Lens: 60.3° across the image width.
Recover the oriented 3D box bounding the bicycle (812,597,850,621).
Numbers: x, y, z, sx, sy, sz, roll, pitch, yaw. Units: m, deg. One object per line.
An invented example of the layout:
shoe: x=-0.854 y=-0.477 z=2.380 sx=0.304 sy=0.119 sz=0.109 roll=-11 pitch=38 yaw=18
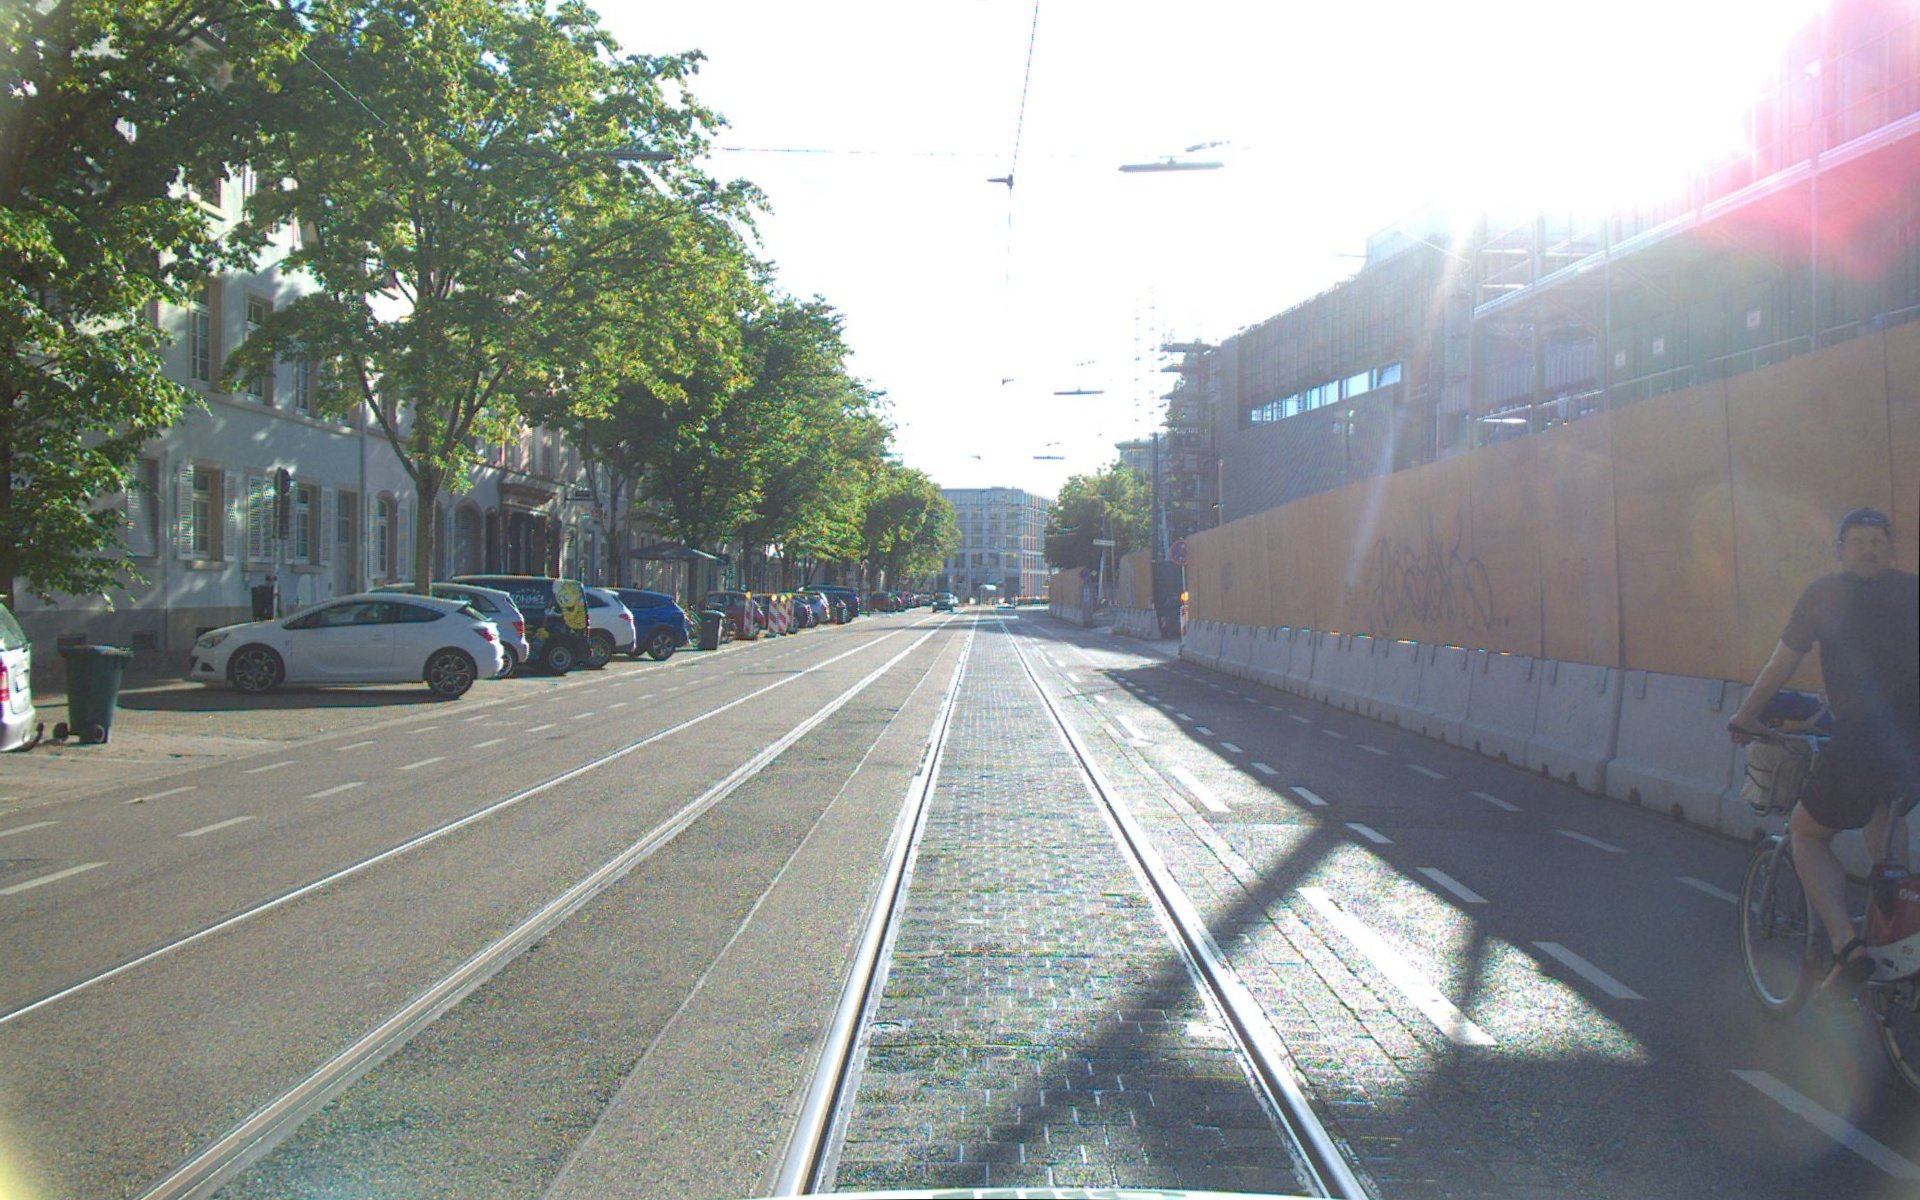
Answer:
bicycle: x=-6.748 y=0.467 z=86.602 sx=1.934 sy=1.164 sz=0.490 roll=2 pitch=0 yaw=-18

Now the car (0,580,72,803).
car: x=-9.336 y=0.689 z=12.930 sx=3.924 sy=1.706 sz=1.695 roll=0 pitch=0 yaw=-17

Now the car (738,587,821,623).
car: x=-8.031 y=0.227 z=73.778 sx=3.323 sy=1.519 sz=1.599 roll=2 pitch=1 yaw=-27

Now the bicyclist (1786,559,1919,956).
bicyclist: x=3.138 y=0.495 z=5.446 sx=0.638 sy=1.259 sz=0.353 roll=-1 pitch=0 yaw=-1

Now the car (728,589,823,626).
car: x=-7.909 y=0.321 z=70.917 sx=3.630 sy=1.496 sz=1.737 roll=2 pitch=0 yaw=-28

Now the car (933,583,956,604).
car: x=-1.321 y=-0.576 z=146.111 sx=1.888 sy=1.657 sz=4.249 roll=-3 pitch=1 yaw=0

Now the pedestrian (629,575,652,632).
pedestrian: x=-11.606 y=0.138 z=60.103 sx=0.716 sy=2.049 sz=0.556 roll=0 pitch=0 yaw=2

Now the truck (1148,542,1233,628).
truck: x=8.553 y=-0.562 z=61.947 sx=2.467 sy=2.959 sz=5.509 roll=-3 pitch=0 yaw=2

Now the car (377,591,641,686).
car: x=-9.328 y=0.740 z=34.356 sx=4.885 sy=1.826 sz=2.181 roll=0 pitch=0 yaw=-36

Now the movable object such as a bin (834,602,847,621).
movable object such as a bin: x=-6.198 y=0.600 z=86.000 sx=0.566 sy=0.929 sz=0.573 roll=2 pitch=1 yaw=-15

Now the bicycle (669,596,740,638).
bicycle: x=-7.644 y=0.510 z=49.598 sx=1.961 sy=1.106 sz=0.568 roll=4 pitch=0 yaw=3

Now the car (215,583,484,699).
car: x=-9.045 y=0.612 z=24.747 sx=3.581 sy=1.556 sz=1.876 roll=2 pitch=-1 yaw=-19

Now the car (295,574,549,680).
car: x=-9.415 y=0.482 z=29.002 sx=3.943 sy=1.685 sz=1.793 roll=2 pitch=1 yaw=-29

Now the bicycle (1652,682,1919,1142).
bicycle: x=3.106 y=0.940 z=5.643 sx=0.653 sy=1.175 sz=2.277 roll=1 pitch=0 yaw=4

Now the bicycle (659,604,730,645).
bicycle: x=-7.758 y=0.702 z=48.273 sx=1.927 sy=1.098 sz=0.569 roll=2 pitch=0 yaw=3

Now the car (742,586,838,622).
car: x=-7.867 y=0.182 z=76.677 sx=4.053 sy=1.539 sz=1.826 roll=1 pitch=1 yaw=-26

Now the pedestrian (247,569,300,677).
pedestrian: x=-12.062 y=0.405 z=29.079 sx=0.630 sy=1.870 sz=0.624 roll=-1 pitch=0 yaw=2

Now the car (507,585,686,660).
car: x=-8.614 y=0.508 z=39.348 sx=3.859 sy=1.637 sz=1.553 roll=-2 pitch=0 yaw=-36

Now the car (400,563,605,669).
car: x=-8.736 y=0.350 z=31.624 sx=3.402 sy=1.875 sz=1.713 roll=2 pitch=-3 yaw=-33

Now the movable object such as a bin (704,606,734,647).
movable object such as a bin: x=-6.698 y=0.727 z=45.952 sx=0.669 sy=1.096 sz=0.710 roll=3 pitch=1 yaw=2

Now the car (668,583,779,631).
car: x=-8.397 y=0.259 z=58.660 sx=3.567 sy=1.580 sz=1.656 roll=1 pitch=1 yaw=-25

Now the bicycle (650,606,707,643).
bicycle: x=-7.931 y=0.683 z=46.594 sx=1.570 sy=1.005 sz=0.388 roll=1 pitch=0 yaw=-10

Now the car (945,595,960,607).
car: x=-0.904 y=0.121 z=203.368 sx=1.675 sy=1.461 sz=4.169 roll=0 pitch=0 yaw=-2

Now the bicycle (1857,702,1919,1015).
bicycle: x=3.905 y=0.992 z=5.490 sx=0.546 sy=1.146 sz=2.275 roll=-1 pitch=0 yaw=-2

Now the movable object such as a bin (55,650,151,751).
movable object such as a bin: x=-8.607 y=1.003 z=16.632 sx=0.609 sy=0.961 sz=0.670 roll=0 pitch=0 yaw=0
